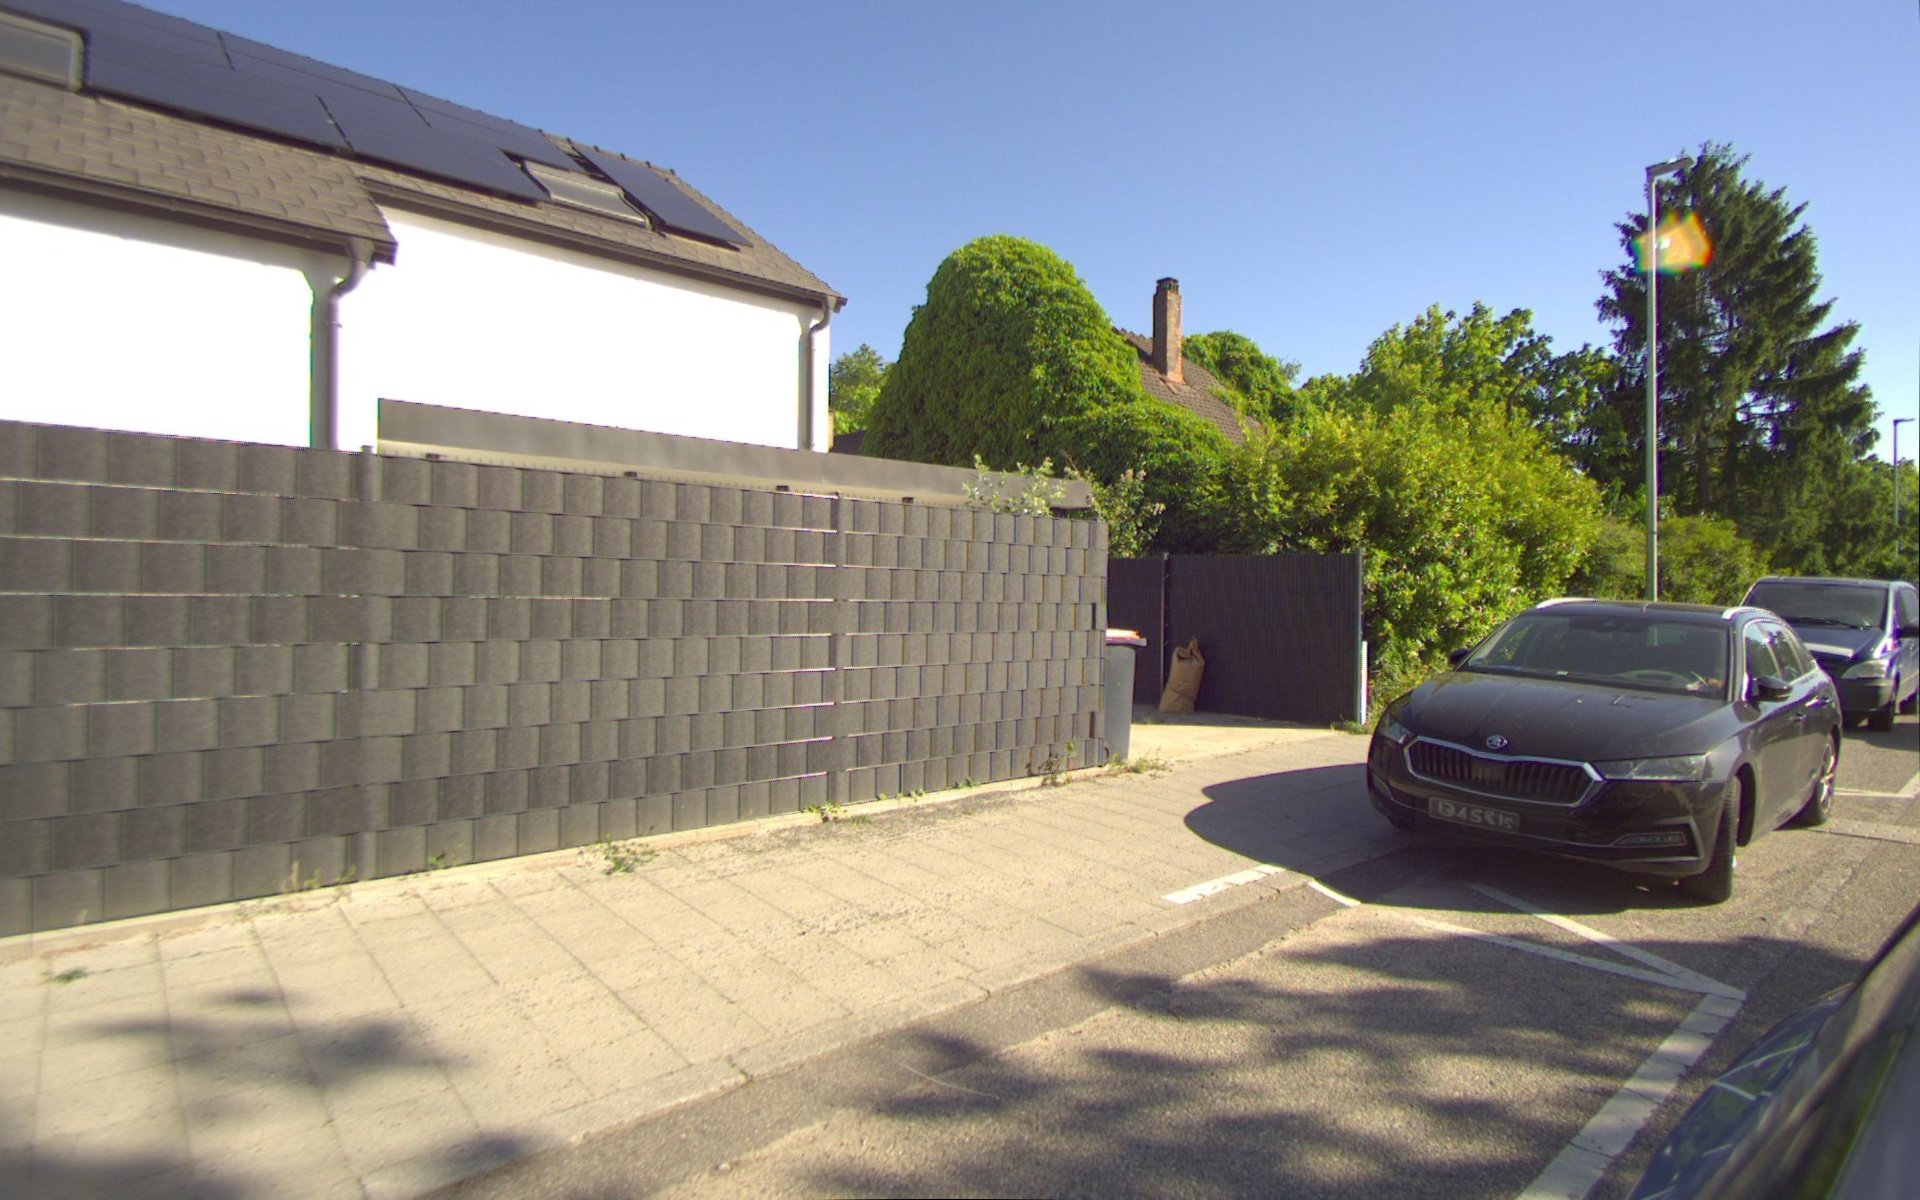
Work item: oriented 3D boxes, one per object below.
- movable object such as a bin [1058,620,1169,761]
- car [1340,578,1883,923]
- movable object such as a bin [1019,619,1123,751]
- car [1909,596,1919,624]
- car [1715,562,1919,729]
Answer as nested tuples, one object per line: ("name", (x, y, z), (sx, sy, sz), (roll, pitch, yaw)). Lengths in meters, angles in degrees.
("movable object such as a bin", (1.274, 0.719, 8.389), (0.692, 1.052, 0.595), (-2, 2, -40))
("car", (4.601, 0.656, 6.752), (4.904, 1.498, 1.768), (0, 1, -41))
("movable object such as a bin", (0.979, 0.720, 8.922), (0.692, 1.052, 0.595), (-2, 2, -40))
("car", (56.729, 0.612, 57.487), (3.982, 1.588, 1.686), (1, 1, 40))
("car", (12.128, 0.523, 13.953), (4.616, 1.932, 1.839), (0, 0, -41))
